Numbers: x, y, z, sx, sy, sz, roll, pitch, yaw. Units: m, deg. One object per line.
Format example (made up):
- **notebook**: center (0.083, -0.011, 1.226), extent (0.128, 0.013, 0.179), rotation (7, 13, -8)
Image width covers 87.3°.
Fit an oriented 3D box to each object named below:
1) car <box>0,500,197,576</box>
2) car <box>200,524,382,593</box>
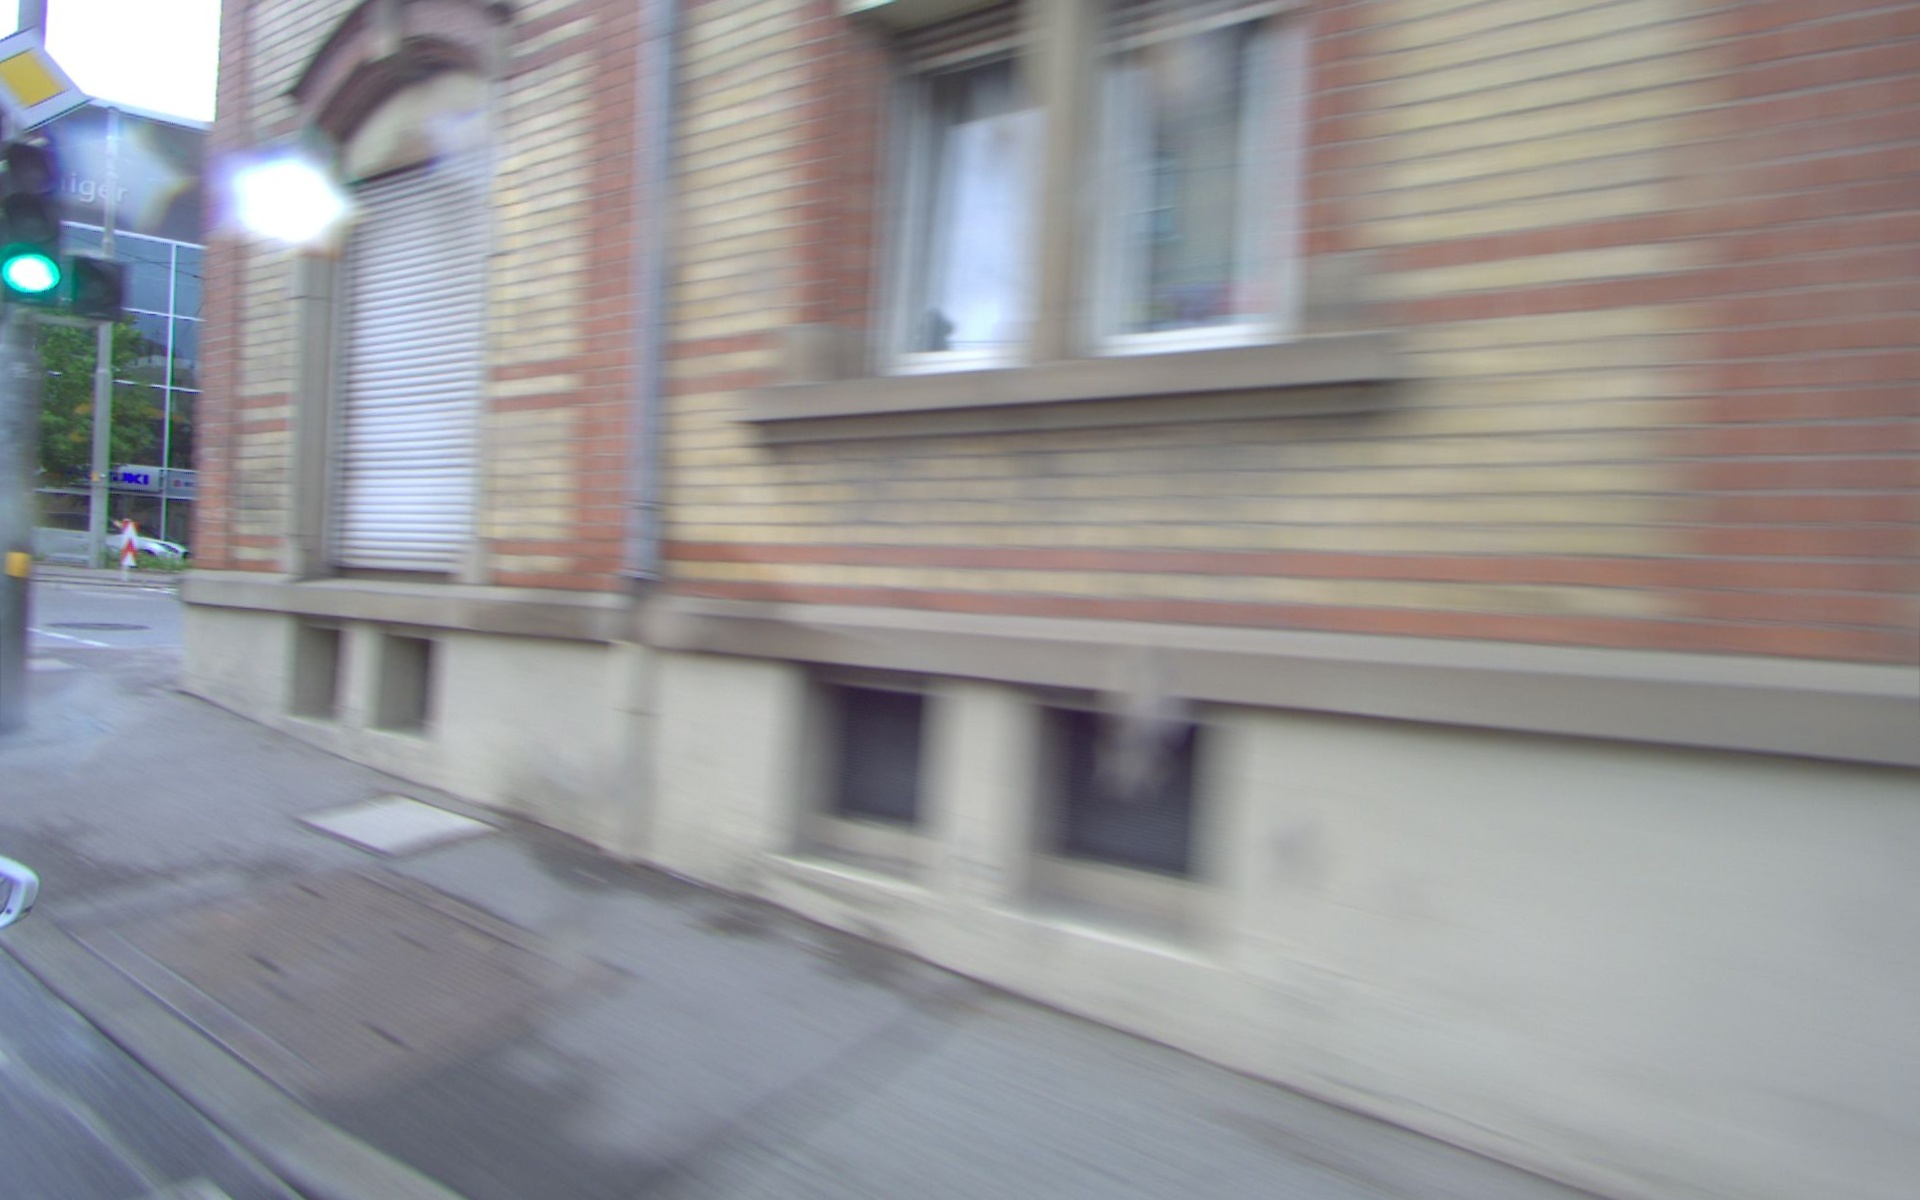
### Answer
- **car**: center (-22.228, -1.542, 25.846), extent (3.955, 1.526, 1.885), rotation (4, -2, -32)
- **car**: center (-18.423, -1.097, 27.932), extent (3.948, 1.549, 1.814), rotation (3, 0, -27)
